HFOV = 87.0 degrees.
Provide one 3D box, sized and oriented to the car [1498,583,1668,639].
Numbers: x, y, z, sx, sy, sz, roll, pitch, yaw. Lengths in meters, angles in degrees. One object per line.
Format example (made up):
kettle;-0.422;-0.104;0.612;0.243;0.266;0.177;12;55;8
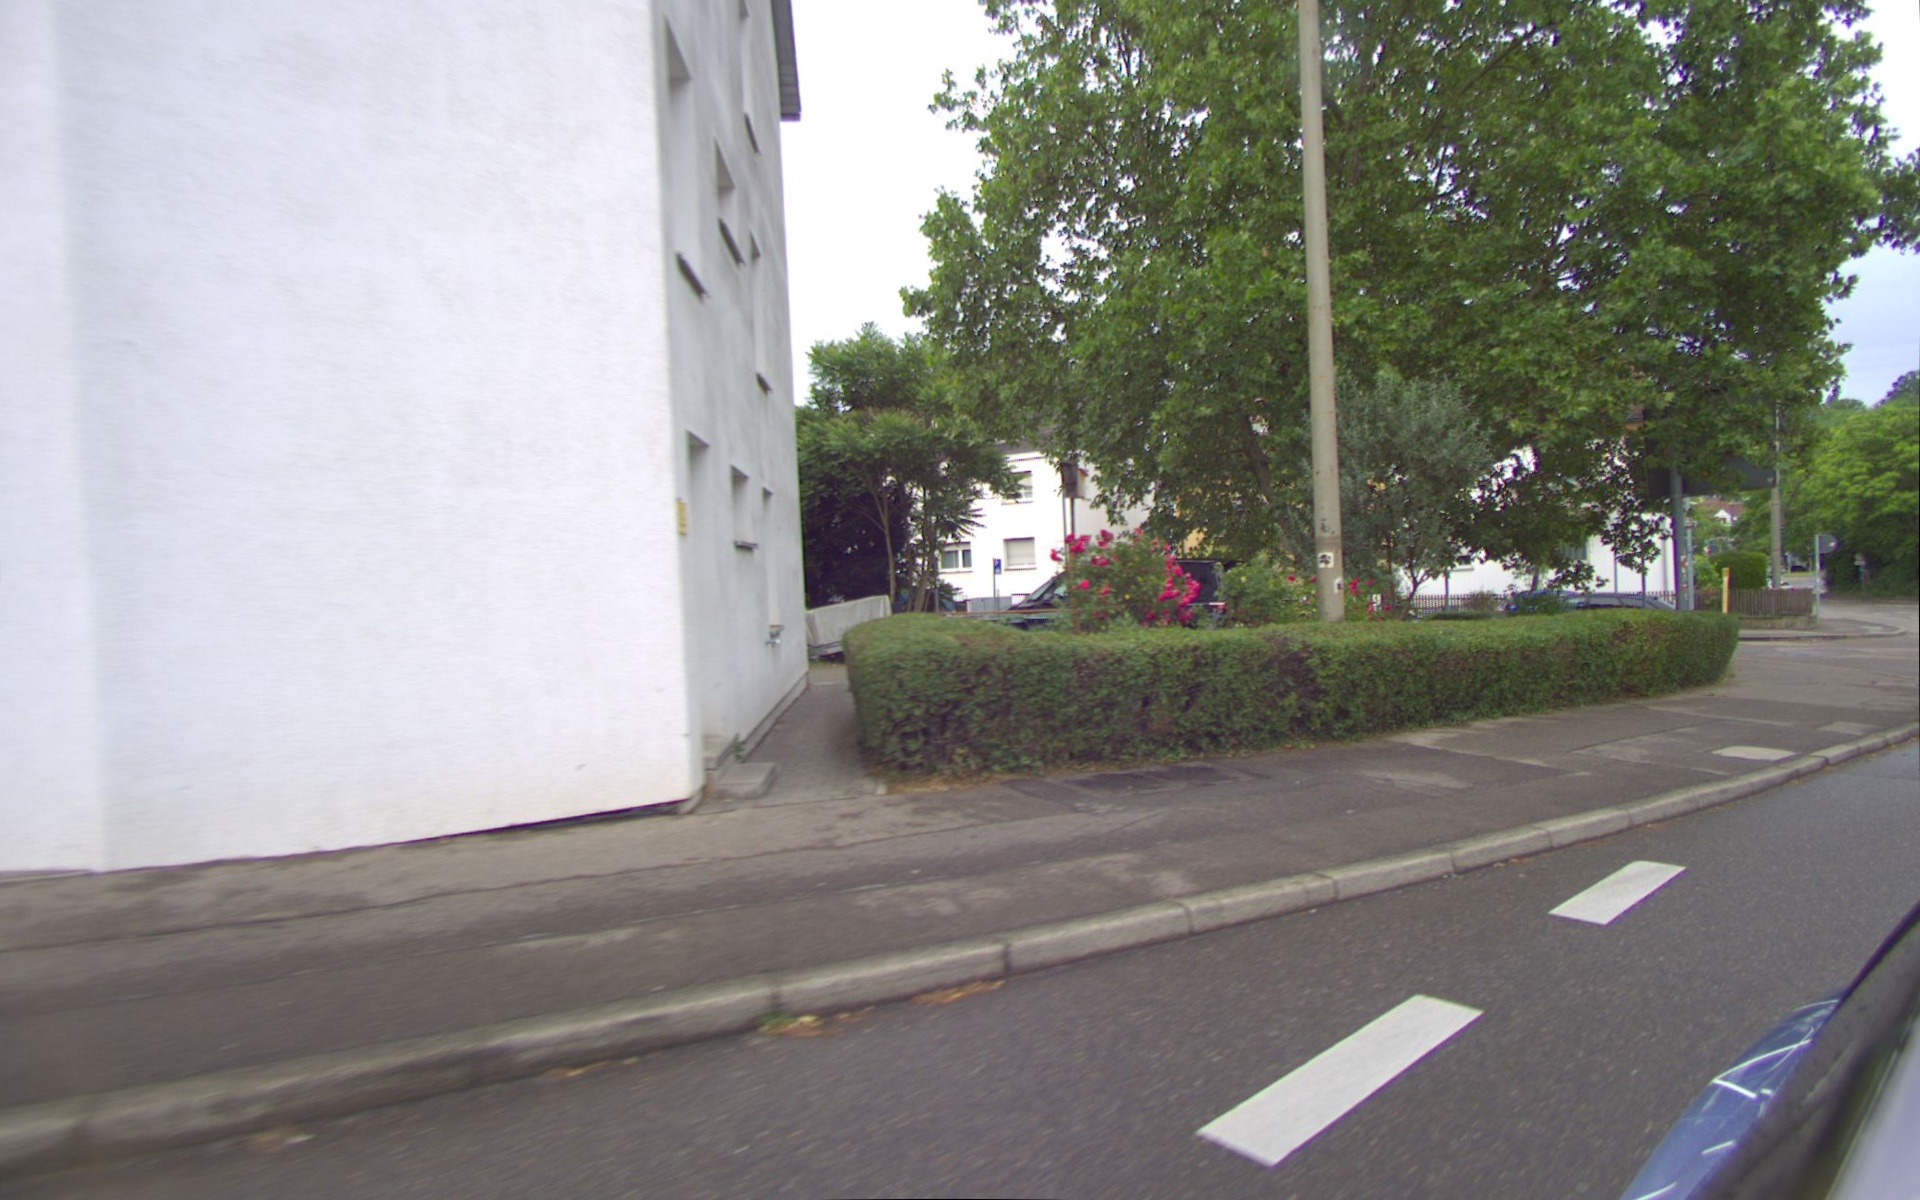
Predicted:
car;17.528;0.288;28.717;3.962;1.482;1.843;0;1;28

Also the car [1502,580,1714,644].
car;16.358;0.301;25.863;4.352;1.532;1.980;-1;0;29

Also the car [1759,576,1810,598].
car;61.045;-0.939;75.032;1.825;1.577;5.519;-1;0;28

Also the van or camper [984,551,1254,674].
van or camper;2.779;0.211;17.823;4.288;1.928;1.980;-1;0;29
